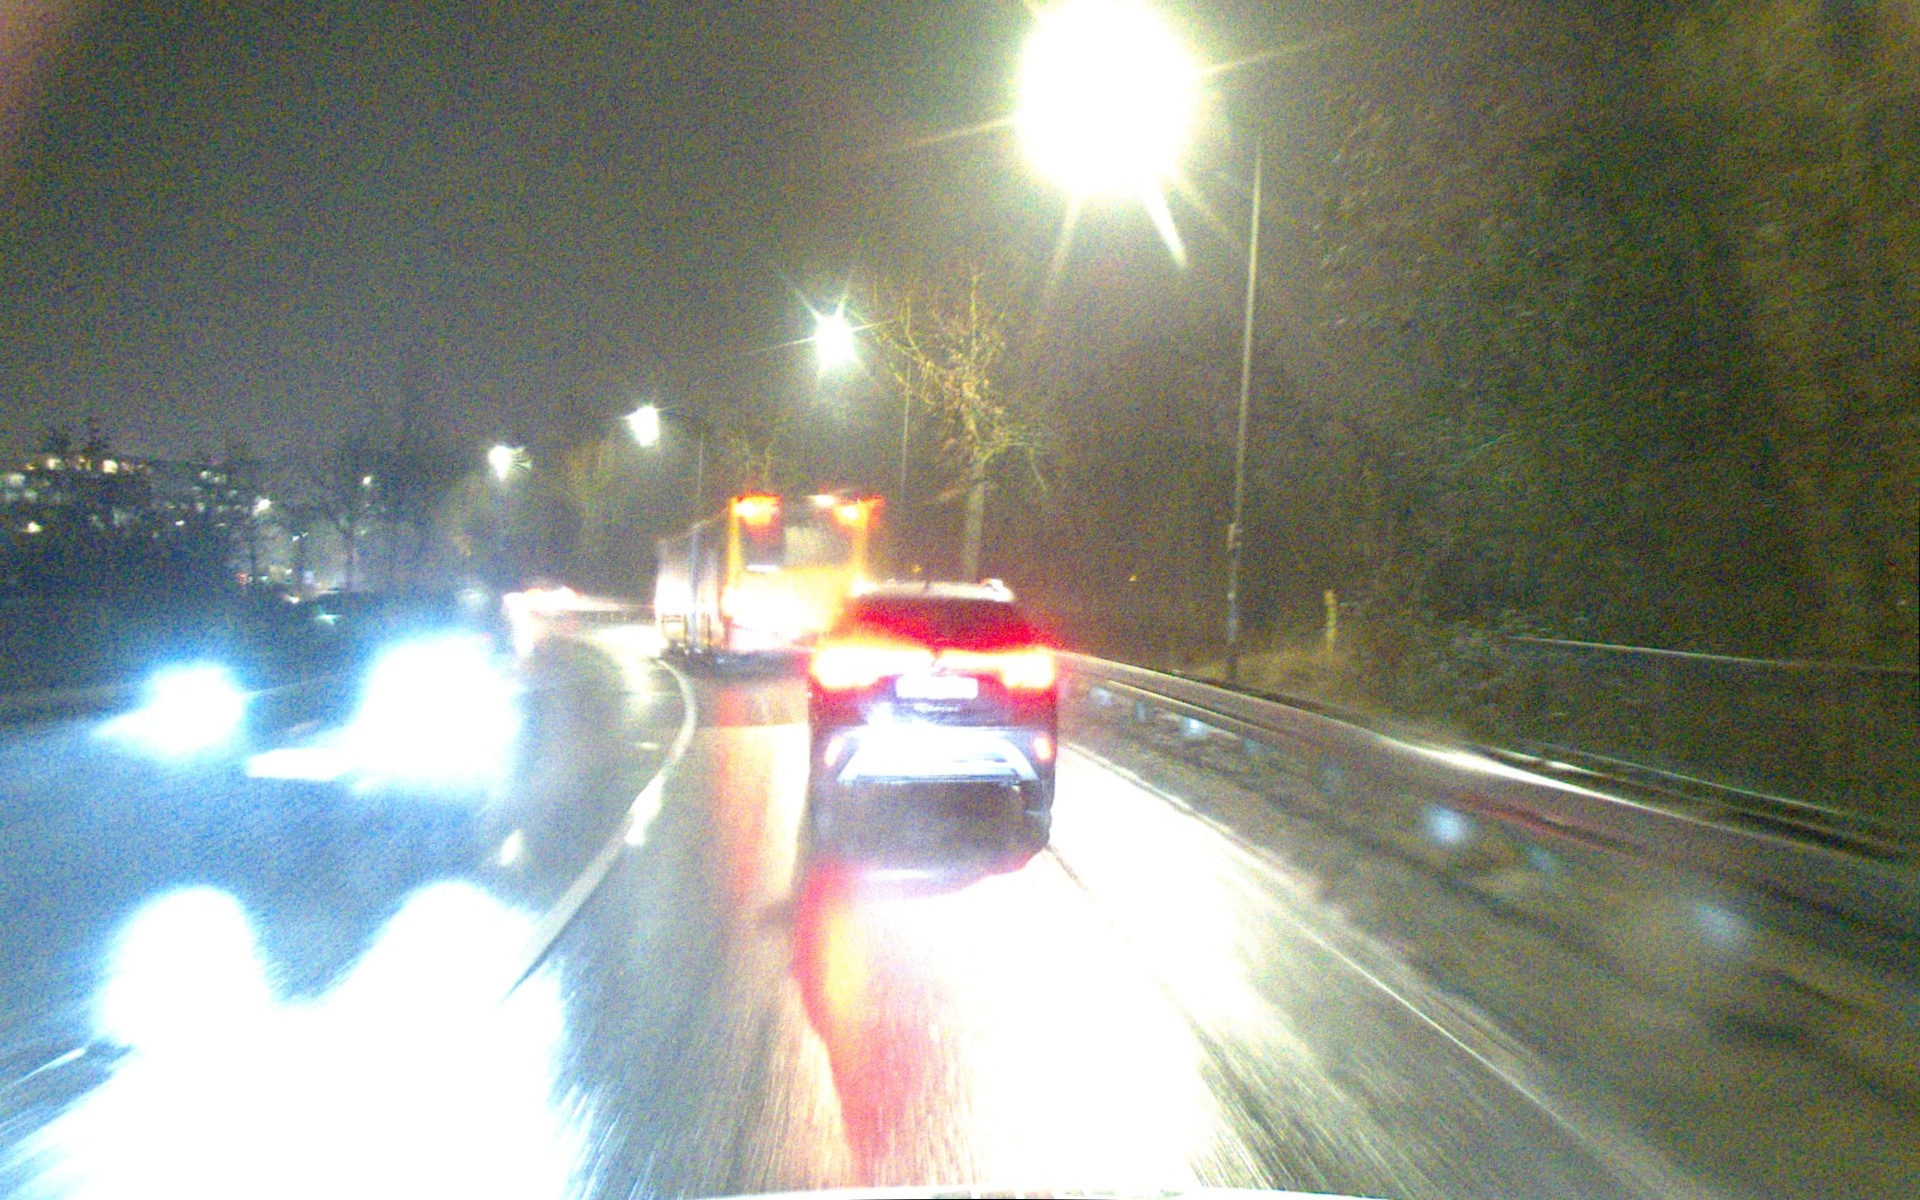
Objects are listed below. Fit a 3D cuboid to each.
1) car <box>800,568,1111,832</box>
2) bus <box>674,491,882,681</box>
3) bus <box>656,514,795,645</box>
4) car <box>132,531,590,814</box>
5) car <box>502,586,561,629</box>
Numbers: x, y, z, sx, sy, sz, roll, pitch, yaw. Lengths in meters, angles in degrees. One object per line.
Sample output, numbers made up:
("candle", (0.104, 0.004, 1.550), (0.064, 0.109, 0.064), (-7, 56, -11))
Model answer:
("car", (-0.209, 0.604, 12.215), (1.820, 1.614, 3.994), (1, 0, -7))
("bus", (-4.146, -0.314, 34.312), (3.029, 3.187, 12.658), (0, 1, -12))
("bus", (-6.459, -0.511, 44.414), (2.996, 3.186, 8.050), (0, 0, -13))
("car", (-3.926, 0.372, 11.773), (1.861, 1.594, 4.730), (1, 1, -5))
("car", (-18.264, 0.285, 70.455), (1.617, 1.684, 3.677), (-2, 2, -28))
